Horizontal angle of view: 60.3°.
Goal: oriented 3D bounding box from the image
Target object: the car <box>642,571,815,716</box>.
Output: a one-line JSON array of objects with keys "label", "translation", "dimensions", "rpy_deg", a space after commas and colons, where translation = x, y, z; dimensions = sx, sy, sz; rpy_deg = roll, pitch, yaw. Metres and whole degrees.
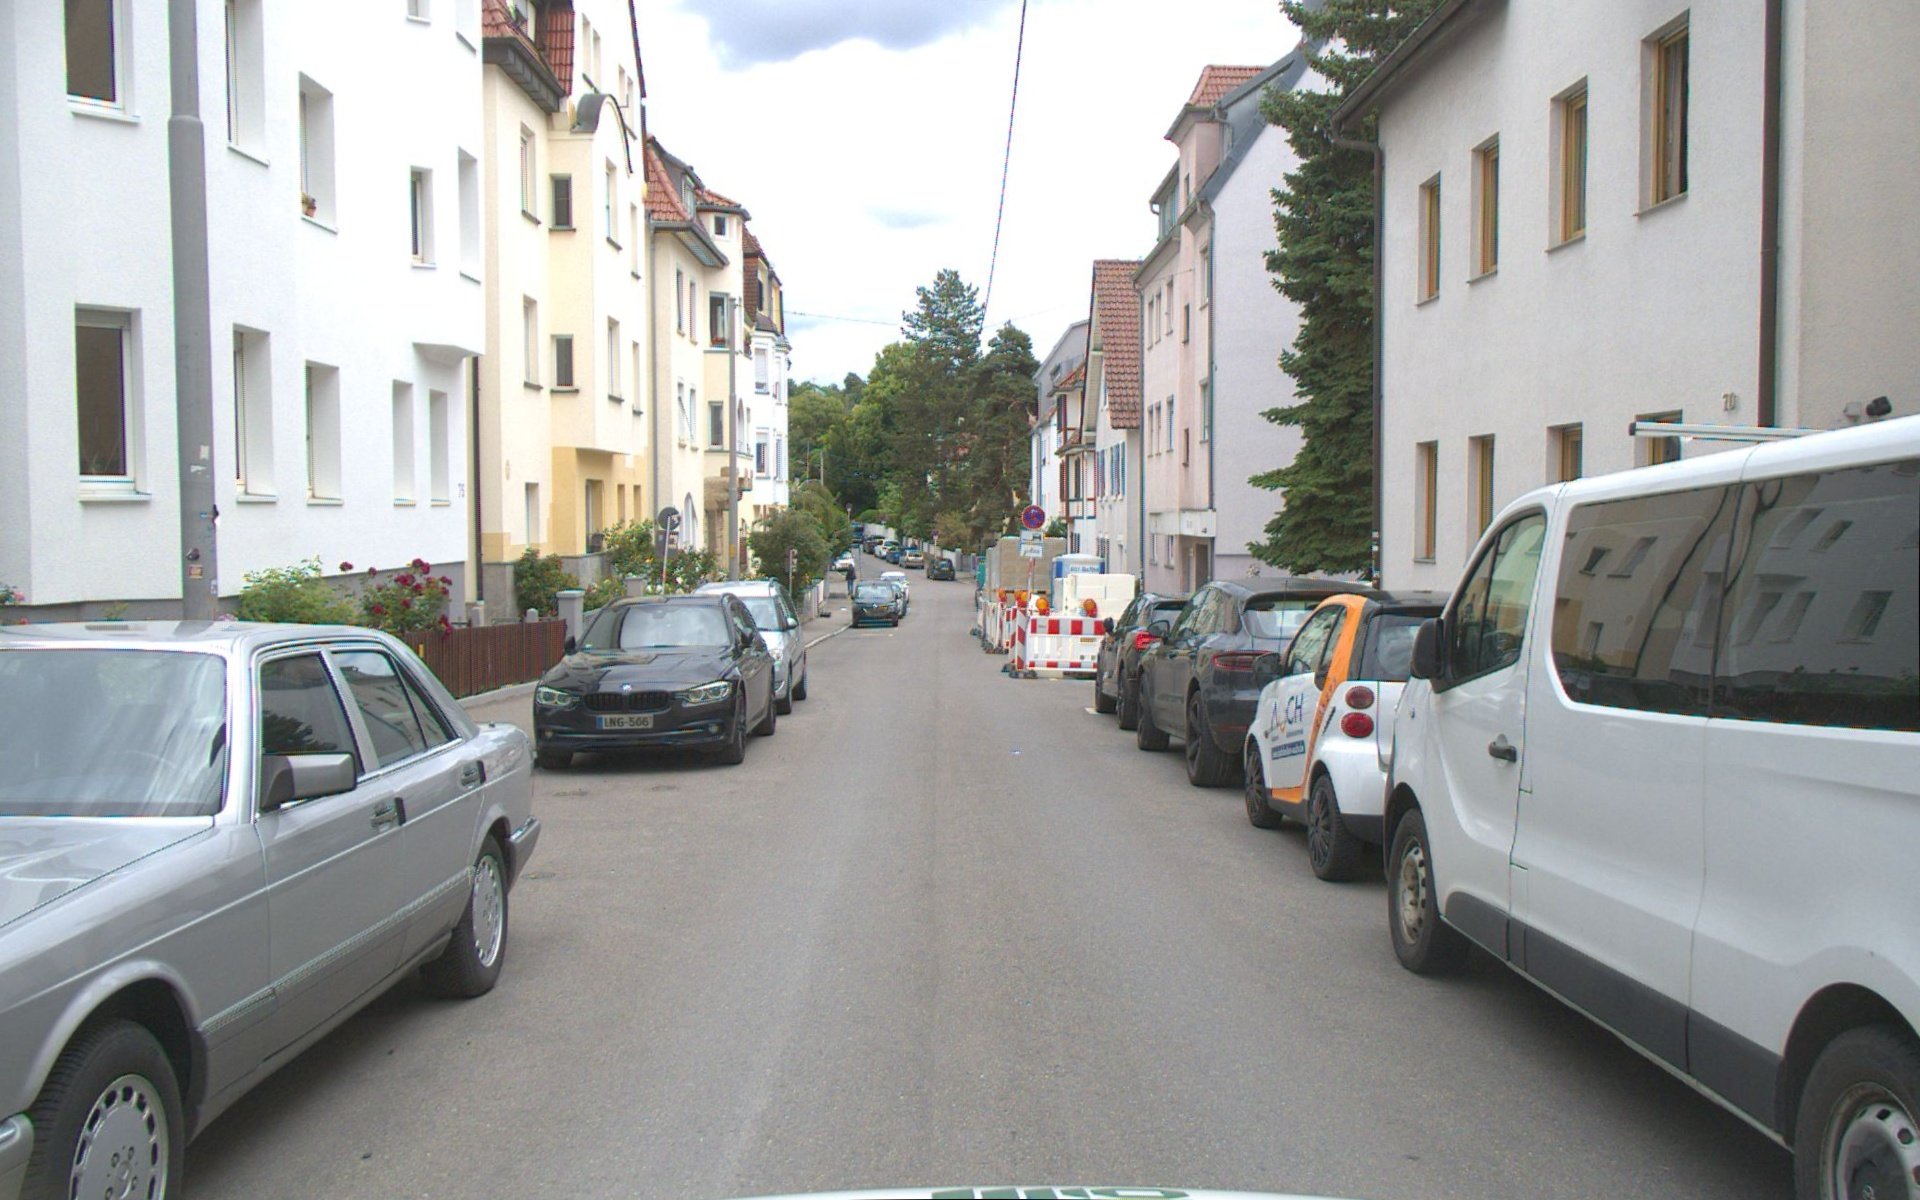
[{"label": "car", "translation": [-2.881, 0.506, 21.408], "dimensions": [1.808, 1.659, 4.284], "rpy_deg": [-1, 0, -3]}]

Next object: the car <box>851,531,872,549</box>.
[{"label": "car", "translation": [-9.733, -5.950, 163.308], "dimensions": [1.604, 1.563, 3.524], "rpy_deg": [1, 5, -10]}]

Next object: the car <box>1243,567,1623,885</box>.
[{"label": "car", "translation": [2.695, 0.627, 9.979], "dimensions": [1.456, 1.624, 2.791], "rpy_deg": [1, 1, 0]}]

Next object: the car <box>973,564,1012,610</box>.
[{"label": "car", "translation": [1.745, -0.744, 90.438], "dimensions": [1.940, 2.403, 4.276], "rpy_deg": [0, 2, -2]}]

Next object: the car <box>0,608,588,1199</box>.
[{"label": "car", "translation": [-2.568, 0.781, 4.964], "dimensions": [1.807, 1.437, 5.061], "rpy_deg": [-1, 0, -1]}]

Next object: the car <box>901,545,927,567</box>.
[{"label": "car", "translation": [-3.717, -3.504, 132.257], "dimensions": [1.604, 1.509, 3.524], "rpy_deg": [1, 5, -10]}]

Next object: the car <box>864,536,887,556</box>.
[{"label": "car", "translation": [-7.628, -4.834, 148.640], "dimensions": [1.604, 1.563, 3.524], "rpy_deg": [1, 5, -10]}]

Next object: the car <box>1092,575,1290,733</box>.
[{"label": "car", "translation": [2.581, 0.538, 19.339], "dimensions": [1.680, 1.593, 4.073], "rpy_deg": [1, 1, -1]}]

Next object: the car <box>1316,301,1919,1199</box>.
[{"label": "car", "translation": [2.742, 0.428, 5.222], "dimensions": [1.867, 2.065, 5.732], "rpy_deg": [1, 1, -1]}]

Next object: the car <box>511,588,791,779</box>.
[{"label": "car", "translation": [-2.714, 0.656, 15.555], "dimensions": [1.807, 1.483, 4.504], "rpy_deg": [-1, 0, -1]}]

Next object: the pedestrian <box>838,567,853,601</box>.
[{"label": "pedestrian", "translation": [-6.734, -0.970, 97.681], "dimensions": [0.775, 1.966, 0.920], "rpy_deg": [1, 1, 2]}]

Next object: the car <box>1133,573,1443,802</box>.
[{"label": "car", "translation": [2.627, 0.606, 14.308], "dimensions": [1.678, 1.624, 4.498], "rpy_deg": [1, 1, -1]}]

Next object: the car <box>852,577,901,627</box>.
[{"label": "car", "translation": [-3.306, 0.055, 65.093], "dimensions": [1.808, 1.847, 4.541], "rpy_deg": [-1, 1, -4]}]

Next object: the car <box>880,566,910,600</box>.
[{"label": "car", "translation": [-3.664, -0.993, 93.926], "dimensions": [1.638, 1.685, 3.864], "rpy_deg": [-1, 4, -2]}]

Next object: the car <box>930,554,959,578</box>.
[{"label": "car", "translation": [-1.134, -2.501, 120.459], "dimensions": [1.604, 1.509, 3.525], "rpy_deg": [1, 5, -8]}]

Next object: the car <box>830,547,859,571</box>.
[{"label": "car", "translation": [-9.084, -3.222, 129.610], "dimensions": [1.644, 1.685, 3.851], "rpy_deg": [-2, 4, -14]}]

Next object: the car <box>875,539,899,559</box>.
[{"label": "car", "translation": [-6.345, -4.400, 142.836], "dimensions": [1.604, 1.563, 3.524], "rpy_deg": [1, 5, -10]}]

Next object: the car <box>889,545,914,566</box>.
[{"label": "car", "translation": [-4.840, -3.705, 136.969], "dimensions": [1.604, 1.509, 3.524], "rpy_deg": [1, 5, -10]}]
